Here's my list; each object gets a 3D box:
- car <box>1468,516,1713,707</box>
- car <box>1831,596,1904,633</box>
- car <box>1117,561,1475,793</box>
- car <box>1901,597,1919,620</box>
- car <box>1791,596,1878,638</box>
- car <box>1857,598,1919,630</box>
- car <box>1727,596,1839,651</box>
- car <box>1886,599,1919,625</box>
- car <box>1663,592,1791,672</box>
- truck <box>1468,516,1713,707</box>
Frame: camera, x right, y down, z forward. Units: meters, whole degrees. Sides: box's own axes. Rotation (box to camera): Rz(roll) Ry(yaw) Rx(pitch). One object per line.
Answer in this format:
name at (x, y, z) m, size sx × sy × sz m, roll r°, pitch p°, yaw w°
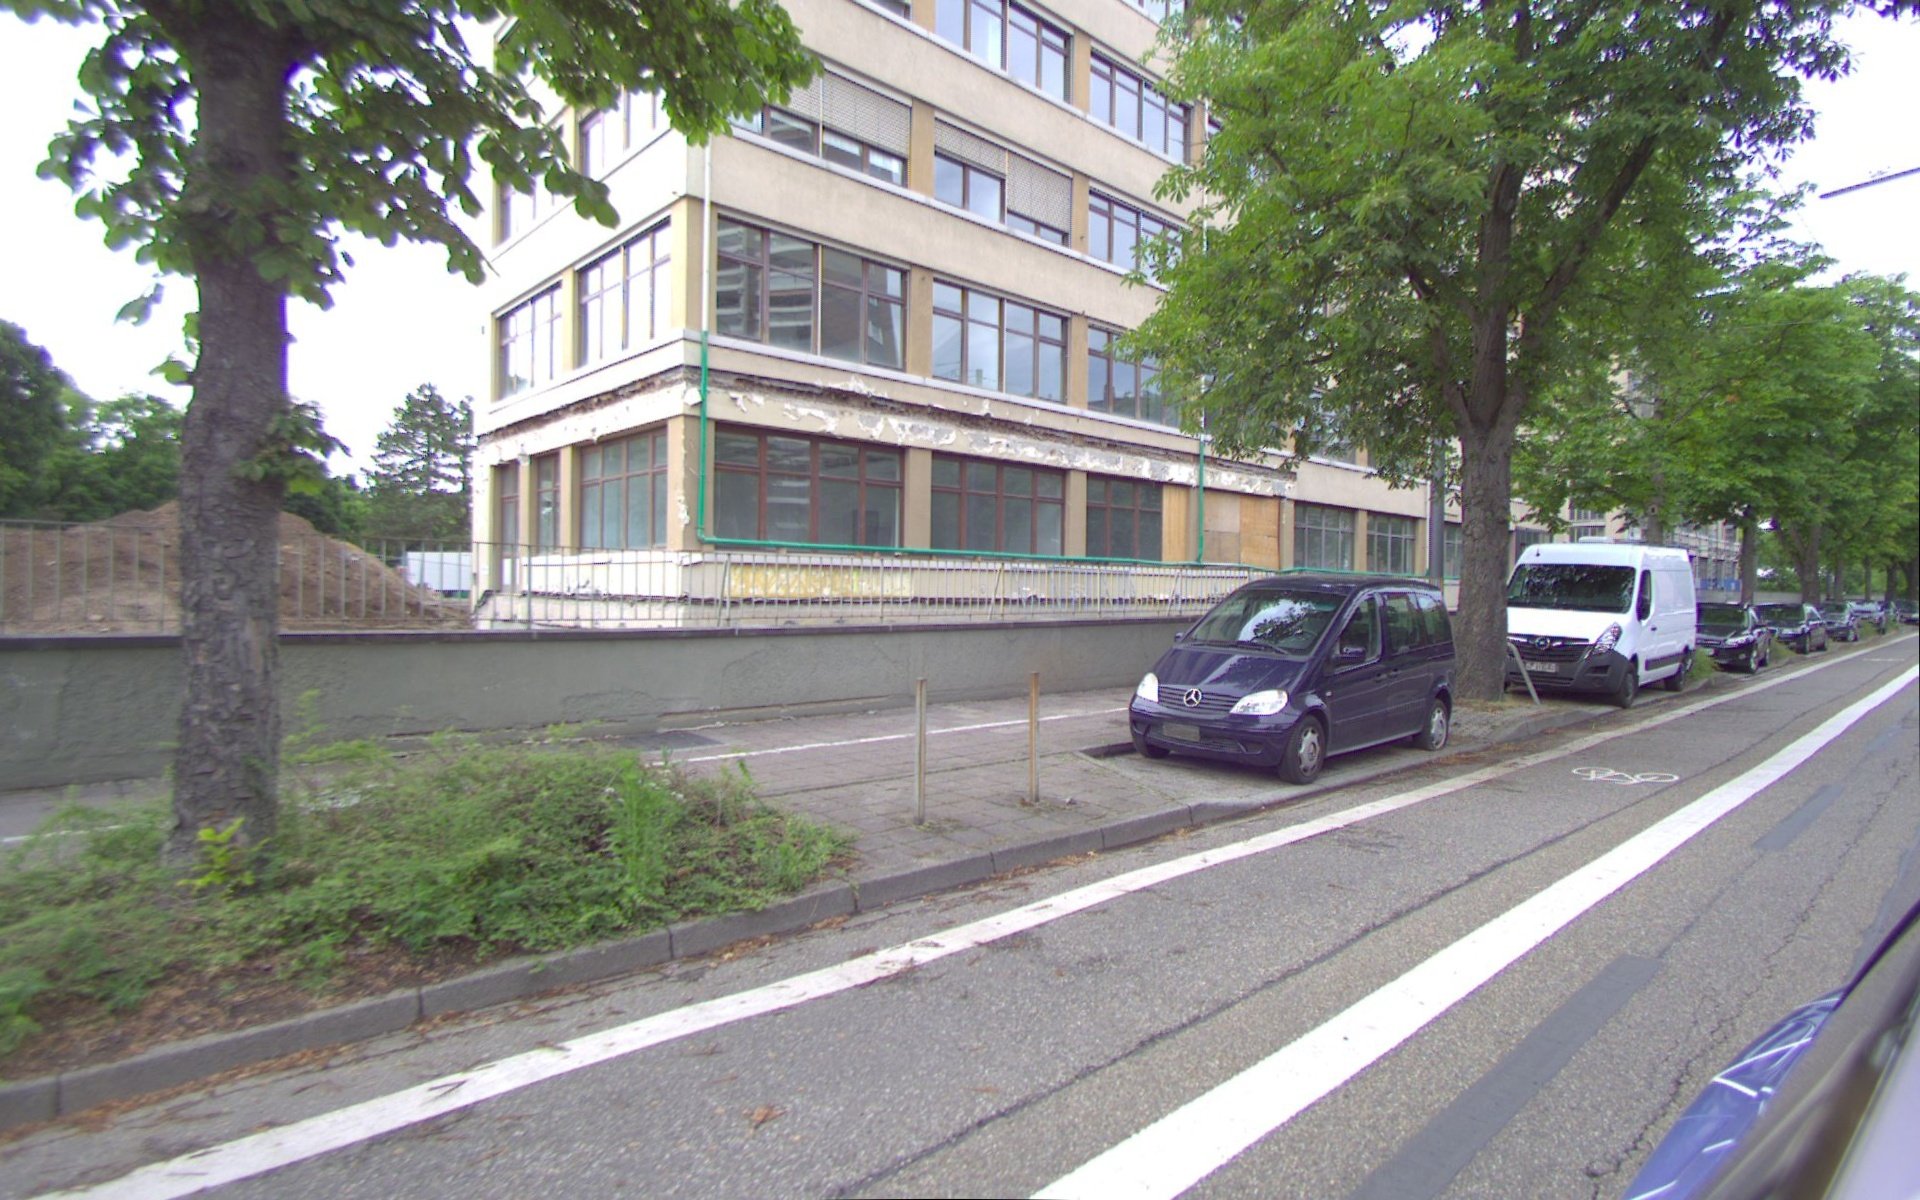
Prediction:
car at (10.470, 0.147, 16.595) m, size 5.399 × 2.635 × 2.114 m, roll 0°, pitch 0°, yaw -43°
car at (39.106, 0.587, 43.574) m, size 4.319 × 1.479 × 1.995 m, roll 0°, pitch 0°, yaw -43°
car at (3.448, 0.576, 9.976) m, size 4.016 × 1.835 × 1.655 m, roll -1°, pitch 1°, yaw -43°
car at (63.808, 0.523, 66.944) m, size 4.319 × 1.479 × 1.995 m, roll 0°, pitch 0°, yaw -43°
car at (32.289, 0.578, 37.314) m, size 4.319 × 1.479 × 1.995 m, roll 0°, pitch 0°, yaw -43°
car at (44.942, 0.636, 48.916) m, size 4.319 × 1.479 × 1.995 m, roll 0°, pitch 0°, yaw -43°
car at (24.109, 0.629, 29.588) m, size 4.319 × 1.479 × 1.995 m, roll 0°, pitch 0°, yaw -43°
car at (55.534, 0.684, 58.963) m, size 4.319 × 1.479 × 1.995 m, roll 0°, pitch 0°, yaw -43°
car at (17.371, 0.639, 22.855) m, size 1.821 × 1.518 × 4.042 m, roll 3°, pitch 3°, yaw 43°
truck at (10.474, 0.146, 16.599) m, size 5.399 × 2.635 × 2.114 m, roll 0°, pitch 0°, yaw -43°
